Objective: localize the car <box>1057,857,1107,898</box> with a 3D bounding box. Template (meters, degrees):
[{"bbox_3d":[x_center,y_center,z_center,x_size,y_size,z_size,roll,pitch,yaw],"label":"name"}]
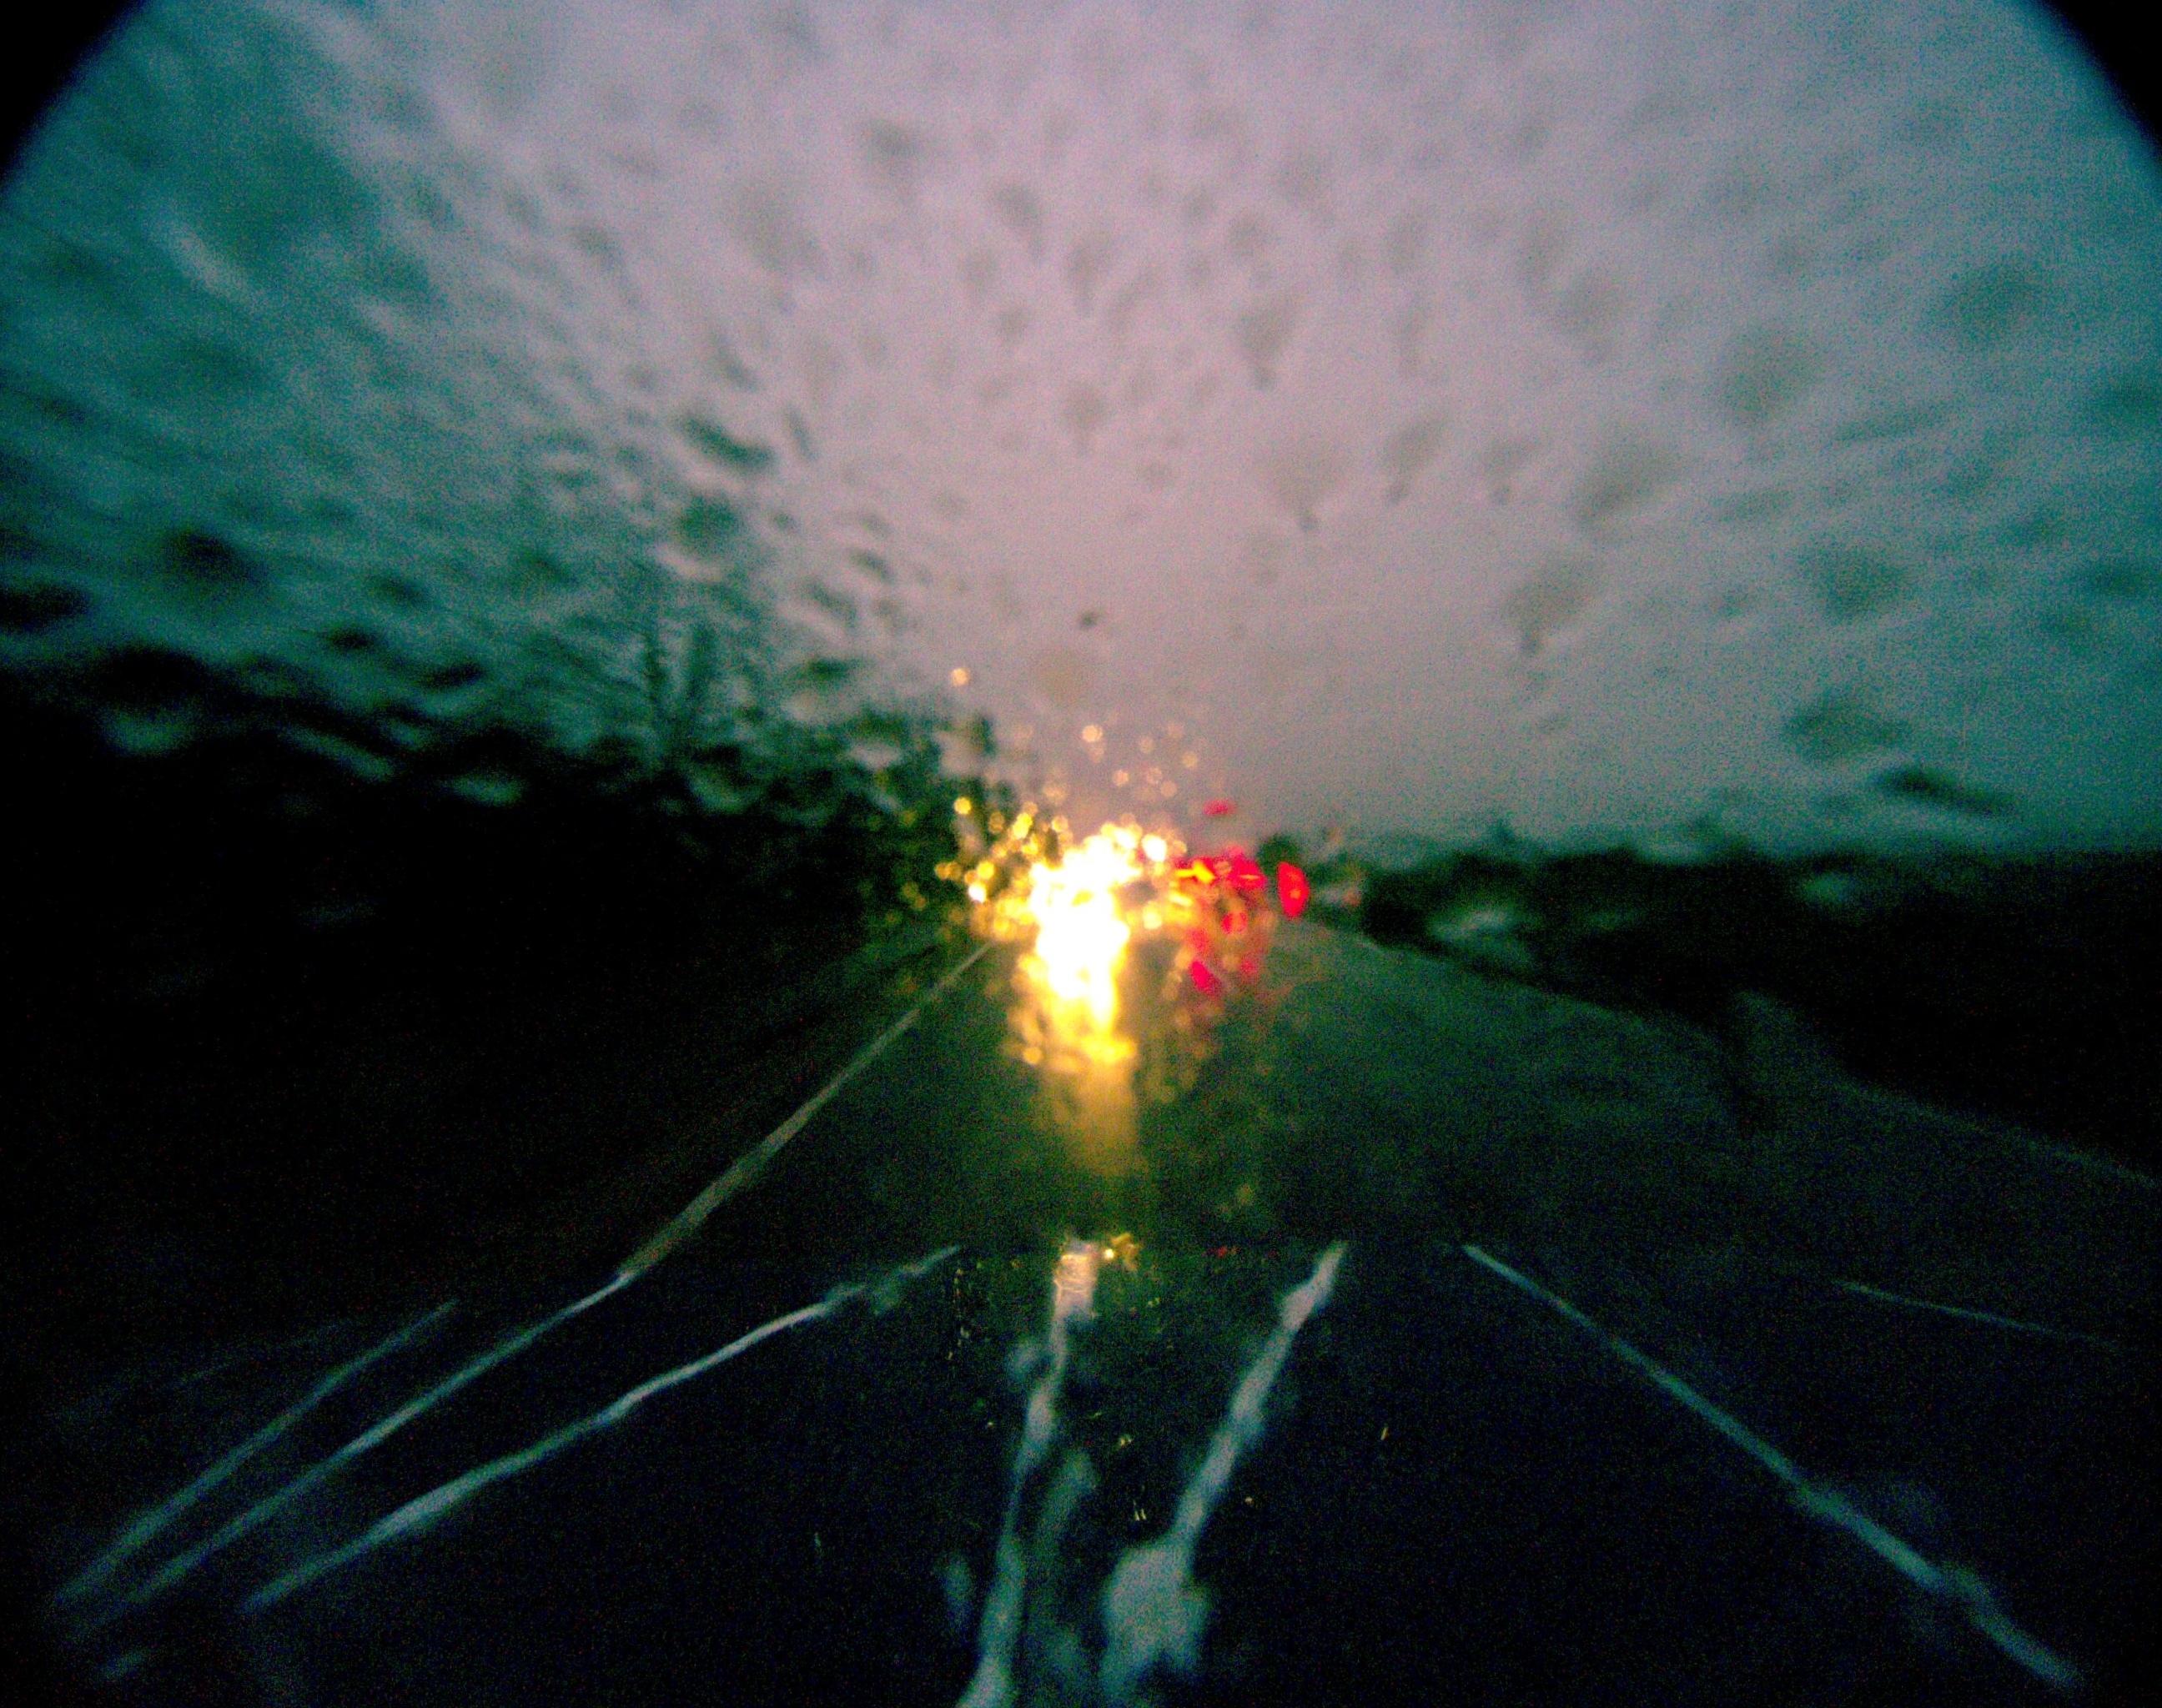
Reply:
[{"bbox_3d":[0.043,0.926,31.197,1.844,1.484,3.956,-2,0,0],"label":"car"}]

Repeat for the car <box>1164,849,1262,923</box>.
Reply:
[{"bbox_3d":[3.354,0.756,20.050,1.844,1.711,3.956,-2,0,0],"label":"car"}]

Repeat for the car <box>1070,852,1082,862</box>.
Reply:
[{"bbox_3d":[-0.887,0.481,139.496,1.933,1.740,4.000,-2,0,1],"label":"car"}]
